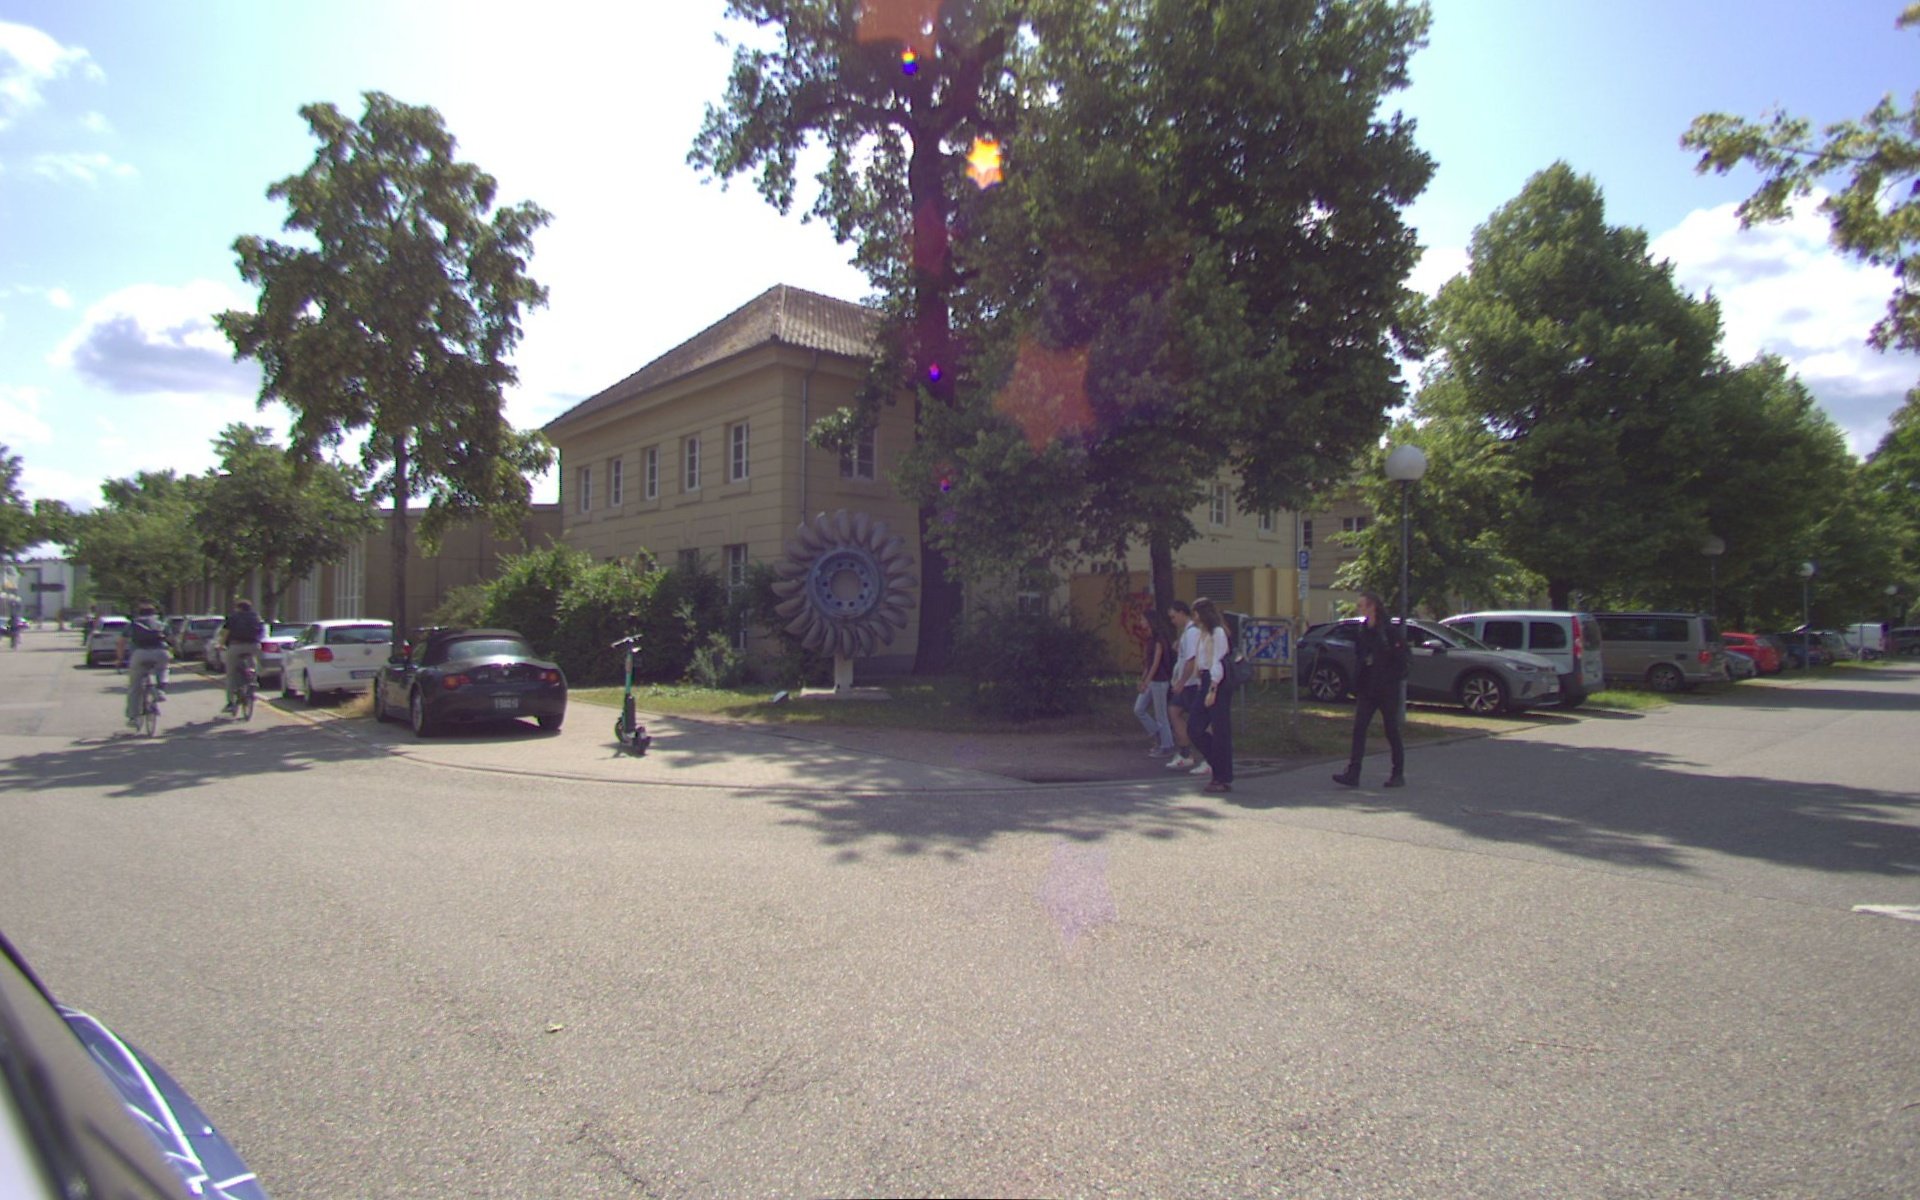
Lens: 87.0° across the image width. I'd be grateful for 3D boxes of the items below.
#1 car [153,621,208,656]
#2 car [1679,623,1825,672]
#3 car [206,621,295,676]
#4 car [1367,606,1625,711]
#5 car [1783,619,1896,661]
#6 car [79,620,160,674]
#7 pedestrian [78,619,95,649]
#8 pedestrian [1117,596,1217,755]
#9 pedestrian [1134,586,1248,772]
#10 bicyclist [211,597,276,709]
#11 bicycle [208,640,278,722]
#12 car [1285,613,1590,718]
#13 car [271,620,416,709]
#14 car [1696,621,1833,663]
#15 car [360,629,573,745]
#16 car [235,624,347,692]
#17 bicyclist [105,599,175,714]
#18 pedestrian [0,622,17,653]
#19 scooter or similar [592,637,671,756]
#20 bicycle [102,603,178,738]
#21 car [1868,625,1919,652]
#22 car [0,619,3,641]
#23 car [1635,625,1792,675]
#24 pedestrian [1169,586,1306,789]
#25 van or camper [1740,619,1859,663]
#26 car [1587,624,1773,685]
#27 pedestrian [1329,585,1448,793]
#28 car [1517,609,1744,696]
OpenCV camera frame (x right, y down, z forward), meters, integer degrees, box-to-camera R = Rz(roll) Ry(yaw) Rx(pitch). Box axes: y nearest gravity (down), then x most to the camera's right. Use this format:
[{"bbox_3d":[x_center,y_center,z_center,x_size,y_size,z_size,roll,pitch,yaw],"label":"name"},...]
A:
[{"bbox_3d":[-38.086,1.852,49.404,1.904,1.646,4.379,1,-2,-40],"label":"car"},{"bbox_3d":[30.152,1.778,38.604,1.785,1.679,4.130,2,-1,-42],"label":"car"},{"bbox_3d":[-20.306,1.329,28.906,1.692,1.444,4.006,1,-2,-40],"label":"car"},{"bbox_3d":[10.465,1.059,19.979,1.785,1.799,4.130,2,-1,-42],"label":"car"},{"bbox_3d":[44.578,1.983,51.358,1.785,1.958,4.130,2,-1,-42],"label":"car"},{"bbox_3d":[-27.437,1.467,33.029,1.904,1.646,4.379,1,-2,-40],"label":"car"},{"bbox_3d":[-49.587,1.914,57.465,0.528,1.694,0.587,1,-2,-20],"label":"pedestrian"},{"bbox_3d":[2.320,0.830,11.399,0.957,1.729,0.559,0,-1,-12],"label":"pedestrian"},{"bbox_3d":[2.320,0.771,10.228,0.885,1.800,0.728,0,-1,-12],"label":"pedestrian"},{"bbox_3d":[-10.949,0.789,15.455,0.621,1.618,1.330,2,-2,-43],"label":"bicyclist"},{"bbox_3d":[-10.966,1.201,15.452,0.617,1.150,1.814,2,-2,-43],"label":"bicycle"},{"bbox_3d":[8.514,1.073,18.398,1.871,1.593,4.656,2,-1,-42],"label":"car"},{"bbox_3d":[-11.180,1.082,18.249,1.611,1.442,3.638,1,-2,-41],"label":"car"},{"bbox_3d":[32.675,1.672,41.183,1.785,1.553,4.130,2,-1,-42],"label":"car"},{"bbox_3d":[-6.723,1.054,13.603,1.675,1.305,3.768,1,-2,-40],"label":"car"},{"bbox_3d":[-15.037,1.229,22.664,1.623,1.387,4.006,1,-2,-40],"label":"car"},{"bbox_3d":[-10.959,0.734,13.517,1.234,1.464,0.579,-1,-2,45],"label":"bicyclist"},{"bbox_3d":[-45.892,1.810,48.753,0.576,1.453,0.639,2,-3,-40],"label":"pedestrian"},{"bbox_3d":[-3.618,1.022,11.118,0.463,1.225,1.207,1,-2,-36],"label":"scooter or similar"},{"bbox_3d":[-10.971,0.903,13.523,1.759,1.693,0.580,-1,-2,45],"label":"bicycle"},{"bbox_3d":[61.152,2.483,64.960,1.785,1.606,4.130,2,-1,-42],"label":"car"},{"bbox_3d":[-76.043,2.348,78.935,1.970,1.670,4.004,2,-2,-43],"label":"car"},{"bbox_3d":[26.423,1.713,35.603,1.783,1.553,4.133,2,-1,-39],"label":"car"},{"bbox_3d":[2.450,0.760,9.013,0.989,1.729,0.623,0,-2,-8],"label":"pedestrian"},{"bbox_3d":[39.334,1.888,47.491,1.785,1.900,4.088,2,-1,-42],"label":"van or camper"},{"bbox_3d":[20.854,1.520,29.437,1.785,1.553,4.130,2,-1,-42],"label":"car"},{"bbox_3d":[3.895,0.783,9.212,0.858,1.800,0.570,1,-2,-29],"label":"pedestrian"},{"bbox_3d":[17.103,1.258,26.027,1.783,1.974,4.537,2,-1,-38],"label":"car"}]
